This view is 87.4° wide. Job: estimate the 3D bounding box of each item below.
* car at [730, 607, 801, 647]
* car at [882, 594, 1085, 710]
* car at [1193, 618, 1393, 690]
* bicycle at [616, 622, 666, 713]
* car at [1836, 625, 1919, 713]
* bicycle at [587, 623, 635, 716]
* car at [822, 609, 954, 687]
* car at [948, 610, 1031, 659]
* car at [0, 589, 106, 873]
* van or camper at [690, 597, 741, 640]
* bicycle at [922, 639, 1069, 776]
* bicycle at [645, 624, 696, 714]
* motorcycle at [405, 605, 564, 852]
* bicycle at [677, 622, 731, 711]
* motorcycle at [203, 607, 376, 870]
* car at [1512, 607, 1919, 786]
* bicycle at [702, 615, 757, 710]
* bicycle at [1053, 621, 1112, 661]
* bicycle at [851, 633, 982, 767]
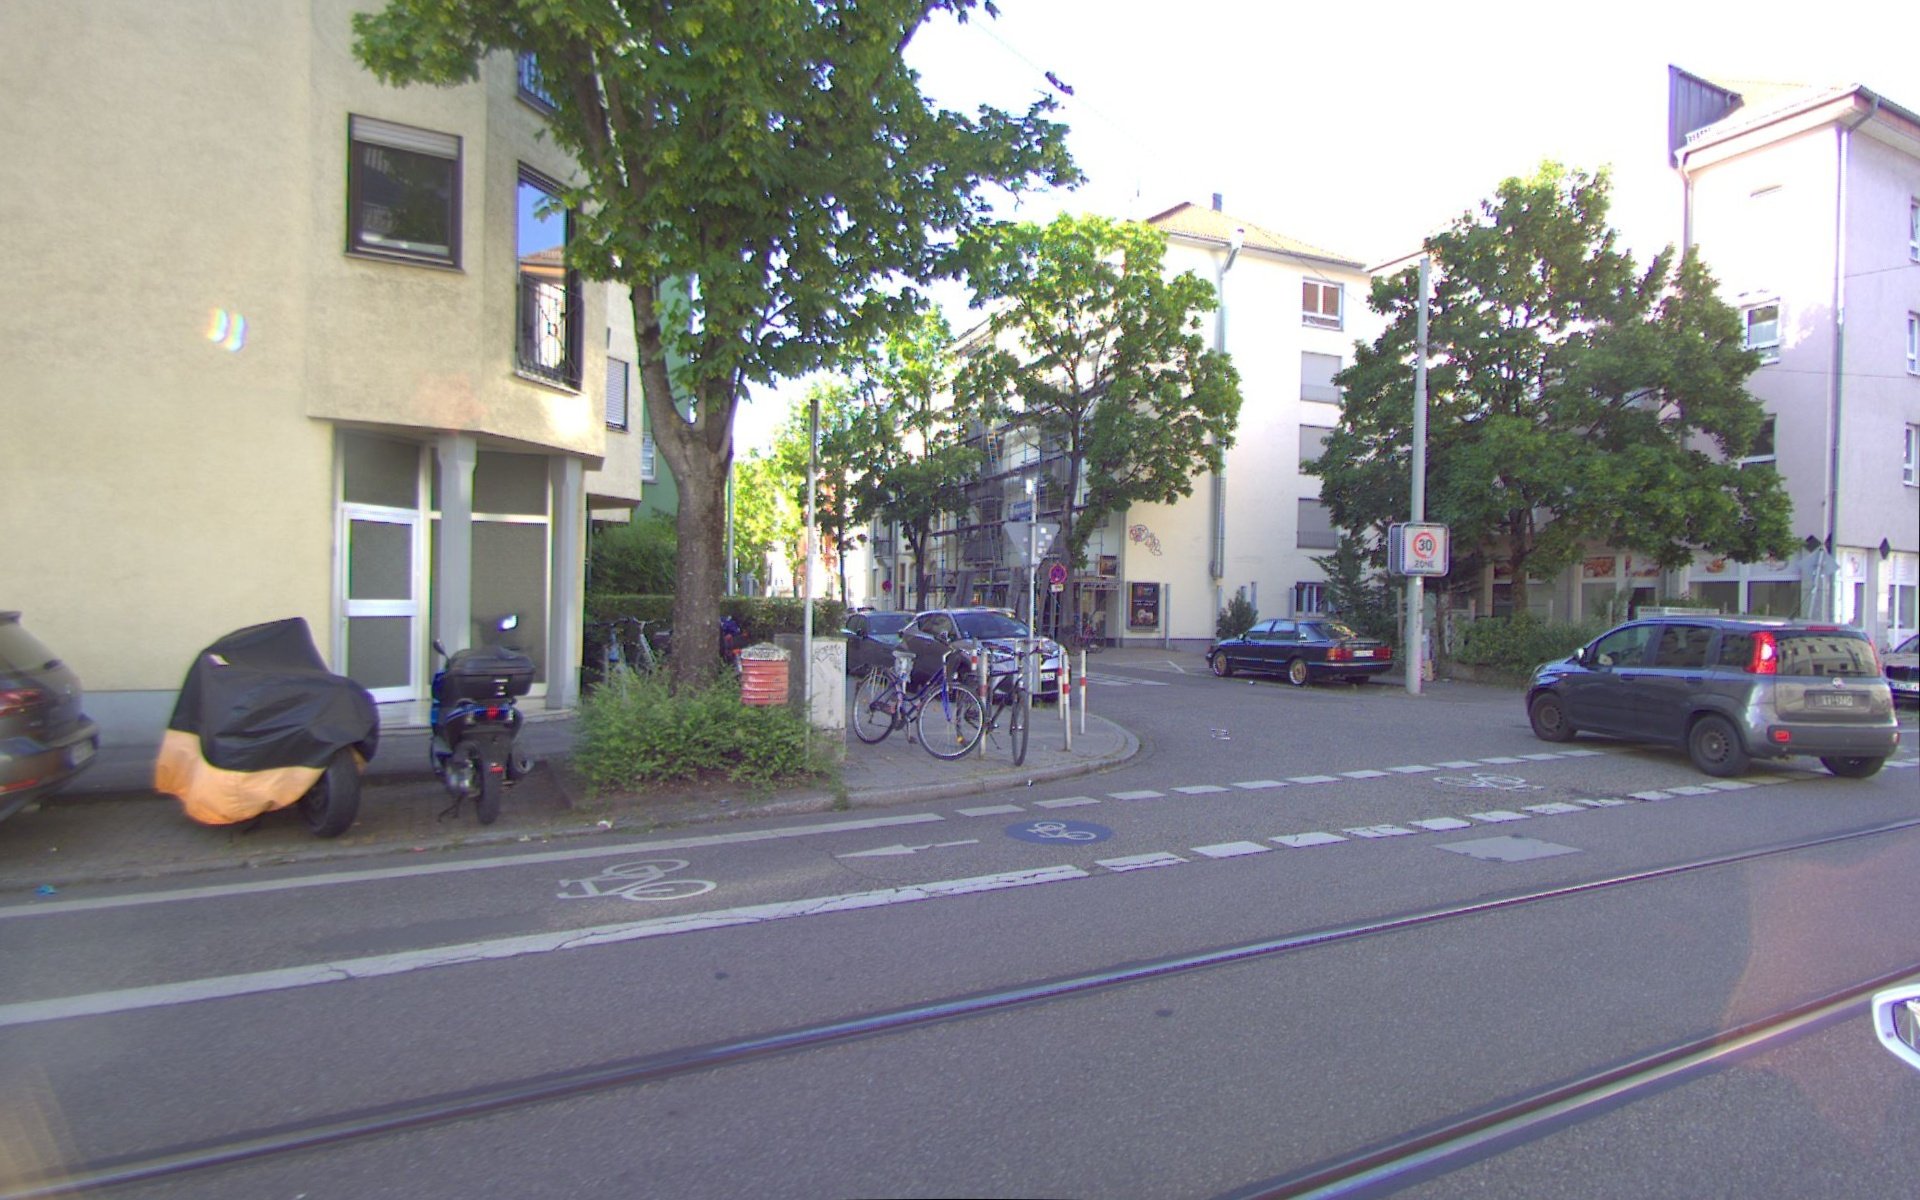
[{"bbox_3d":[-7.839,1.041,40.290,1.957,1.475,4.090,0,0,-24],"label":"car"},{"bbox_3d":[0.256,0.779,17.071,1.883,1.682,3.975,-1,0,-25],"label":"car"},{"bbox_3d":[7.209,1.173,22.286,1.689,1.406,4.547,2,-3,-22],"label":"car"},{"bbox_3d":[-4.177,0.848,13.126,0.328,1.060,1.382,1,1,-29],"label":"bicycle"},{"bbox_3d":[18.292,1.257,18.645,3.950,1.462,1.737,1,2,-28],"label":"car"},{"bbox_3d":[-4.502,0.863,12.924,0.328,1.060,1.382,1,1,-29],"label":"bicycle"},{"bbox_3d":[-1.692,0.975,22.225,1.732,1.517,4.114,-1,0,-22],"label":"car"},{"bbox_3d":[0.925,1.123,33.827,1.655,1.565,3.388,1,0,-20],"label":"car"},{"bbox_3d":[-7.297,0.685,5.241,4.084,1.563,1.725,1,0,-33],"label":"car"},{"bbox_3d":[-12.273,0.902,50.256,1.970,2.040,4.889,0,0,-20],"label":"van or camper"},{"bbox_3d":[0.279,0.949,9.480,0.587,1.099,1.871,1,0,-25],"label":"bicycle"},{"bbox_3d":[-3.848,0.883,13.298,0.328,1.060,1.382,1,1,-29],"label":"bicycle"},{"bbox_3d":[-3.379,0.780,7.038,0.713,1.466,1.956,1,0,-34],"label":"motorcycle"},{"bbox_3d":[-3.414,0.856,13.330,0.328,1.060,1.382,1,1,-29],"label":"bicycle"},{"bbox_3d":[-4.462,0.793,6.717,0.827,1.466,1.956,1,0,-34],"label":"motorcycle"},{"bbox_3d":[7.721,0.879,10.681,1.532,1.553,3.483,2,-1,-5],"label":"car"},{"bbox_3d":[-3.113,0.811,13.505,0.328,1.159,1.382,1,1,-29],"label":"bicycle"},{"bbox_3d":[3.967,1.308,32.481,1.969,1.181,0.718,-2,2,-39],"label":"bicycle"},{"bbox_3d":[-0.461,0.890,9.583,0.587,1.099,1.800,1,0,-25],"label":"bicycle"}]
